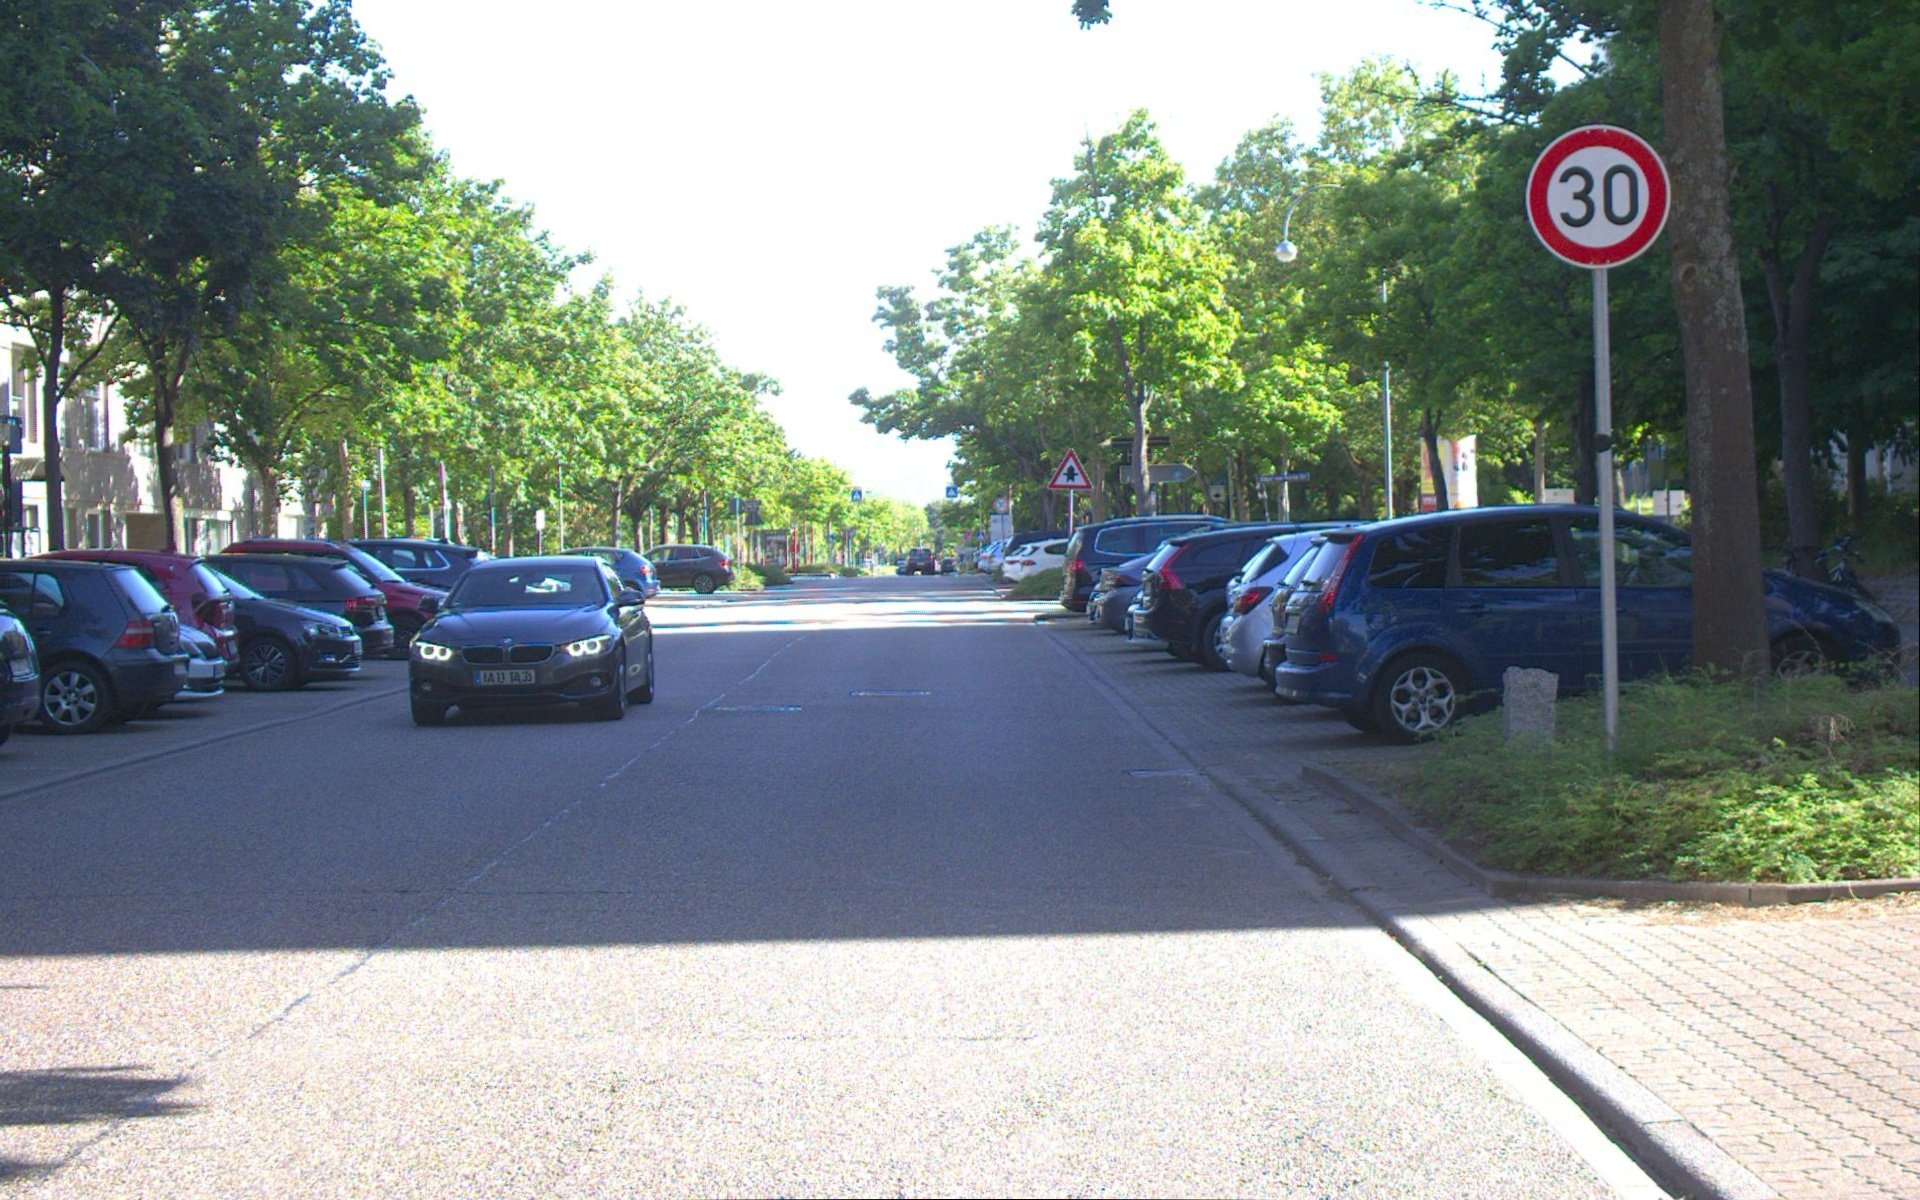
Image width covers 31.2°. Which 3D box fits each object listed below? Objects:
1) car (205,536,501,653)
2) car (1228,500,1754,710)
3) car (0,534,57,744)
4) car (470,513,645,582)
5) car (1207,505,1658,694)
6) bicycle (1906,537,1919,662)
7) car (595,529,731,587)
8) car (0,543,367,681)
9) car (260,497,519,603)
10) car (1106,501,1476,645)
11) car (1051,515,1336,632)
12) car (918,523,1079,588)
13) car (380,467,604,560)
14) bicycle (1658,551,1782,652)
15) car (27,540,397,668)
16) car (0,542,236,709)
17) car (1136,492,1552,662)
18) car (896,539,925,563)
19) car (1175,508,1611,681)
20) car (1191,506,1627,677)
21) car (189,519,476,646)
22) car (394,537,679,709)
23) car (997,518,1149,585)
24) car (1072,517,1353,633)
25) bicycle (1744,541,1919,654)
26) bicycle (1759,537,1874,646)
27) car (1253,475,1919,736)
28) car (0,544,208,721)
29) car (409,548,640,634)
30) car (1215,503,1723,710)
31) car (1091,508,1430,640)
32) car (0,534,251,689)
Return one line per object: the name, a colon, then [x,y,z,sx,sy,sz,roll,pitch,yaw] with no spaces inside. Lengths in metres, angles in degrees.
car: [-8.934,-0.075,50.781,3.987,1.581,1.765,-2,0,3]
car: [4.194,0.020,27.610,3.882,1.521,1.895,-2,1,0]
car: [-8.558,0.285,24.632,3.732,1.459,1.677,-1,1,-1]
car: [-9.474,-1.247,81.135,3.986,1.527,1.618,-1,1,-4]
car: [4.074,-0.014,30.007,3.635,1.462,1.633,-2,1,-1]
bicycle: [8.186,-0.002,28.313,0.379,1.043,1.884,-3,1,5]
car: [-9.131,-1.292,105.996,3.987,1.678,2.000,-1,1,0]
car: [-8.482,0.119,36.838,3.986,1.408,1.666,1,0,-2]
car: [-9.601,-0.848,58.048,3.987,1.648,1.860,-2,1,2]
car: [3.842,-0.328,40.241,4.043,1.585,1.550,-1,1,-7]
car: [3.478,-0.403,51.676,4.043,1.576,1.641,-2,1,-3]
car: [0.991,-1.169,89.406,3.986,1.619,2.000,-1,1,-5]
car: [-8.412,-1.558,62.039,3.892,1.606,1.858,-1,1,-5]
bicycle: [8.310,0.004,37.656,0.379,1.074,1.788,-1,1,-21]
car: [-8.560,0.045,39.573,3.986,1.401,1.606,1,0,-5]
car: [-8.809,0.211,31.885,3.865,1.452,1.755,0,2,-3]
car: [4.087,-0.253,36.982,4.249,1.549,1.919,-3,1,4]
car: [-3.401,-3.388,236.521,1.933,1.592,4.366,-1,1,-1]
car: [4.039,-0.058,32.475,3.752,1.444,1.880,-2,1,-3]
car: [4.235,-0.092,32.912,3.866,1.463,1.967,-2,1,0]
car: [-8.519,-0.229,46.869,3.541,1.651,1.761,-1,-1,1]
car: [-3.686,0.153,30.572,1.813,1.410,4.107,0,1,3]
car: [3.125,-1.353,95.794,3.986,1.786,2.000,-1,1,-5]
car: [3.730,-0.380,51.219,3.892,1.650,1.858,-1,1,-6]
bicycle: [8.539,-0.023,33.646,0.379,1.074,1.786,-2,1,-42]
bicycle: [8.696,-0.096,34.949,0.379,1.074,1.788,-1,1,-12]
car: [4.321,0.023,24.107,4.267,1.628,1.858,-2,1,-3]
car: [-8.460,0.248,29.215,3.762,1.440,1.631,1,0,0]
car: [-7.847,-0.174,62.196,3.986,1.476,1.680,-1,1,-2]
car: [3.998,0.038,27.479,3.740,1.462,1.911,-2,1,1]
car: [3.773,-0.327,43.505,4.043,1.486,1.550,-2,0,-3]
car: [-8.883,0.095,34.179,3.418,1.458,1.697,0,2,-5]
